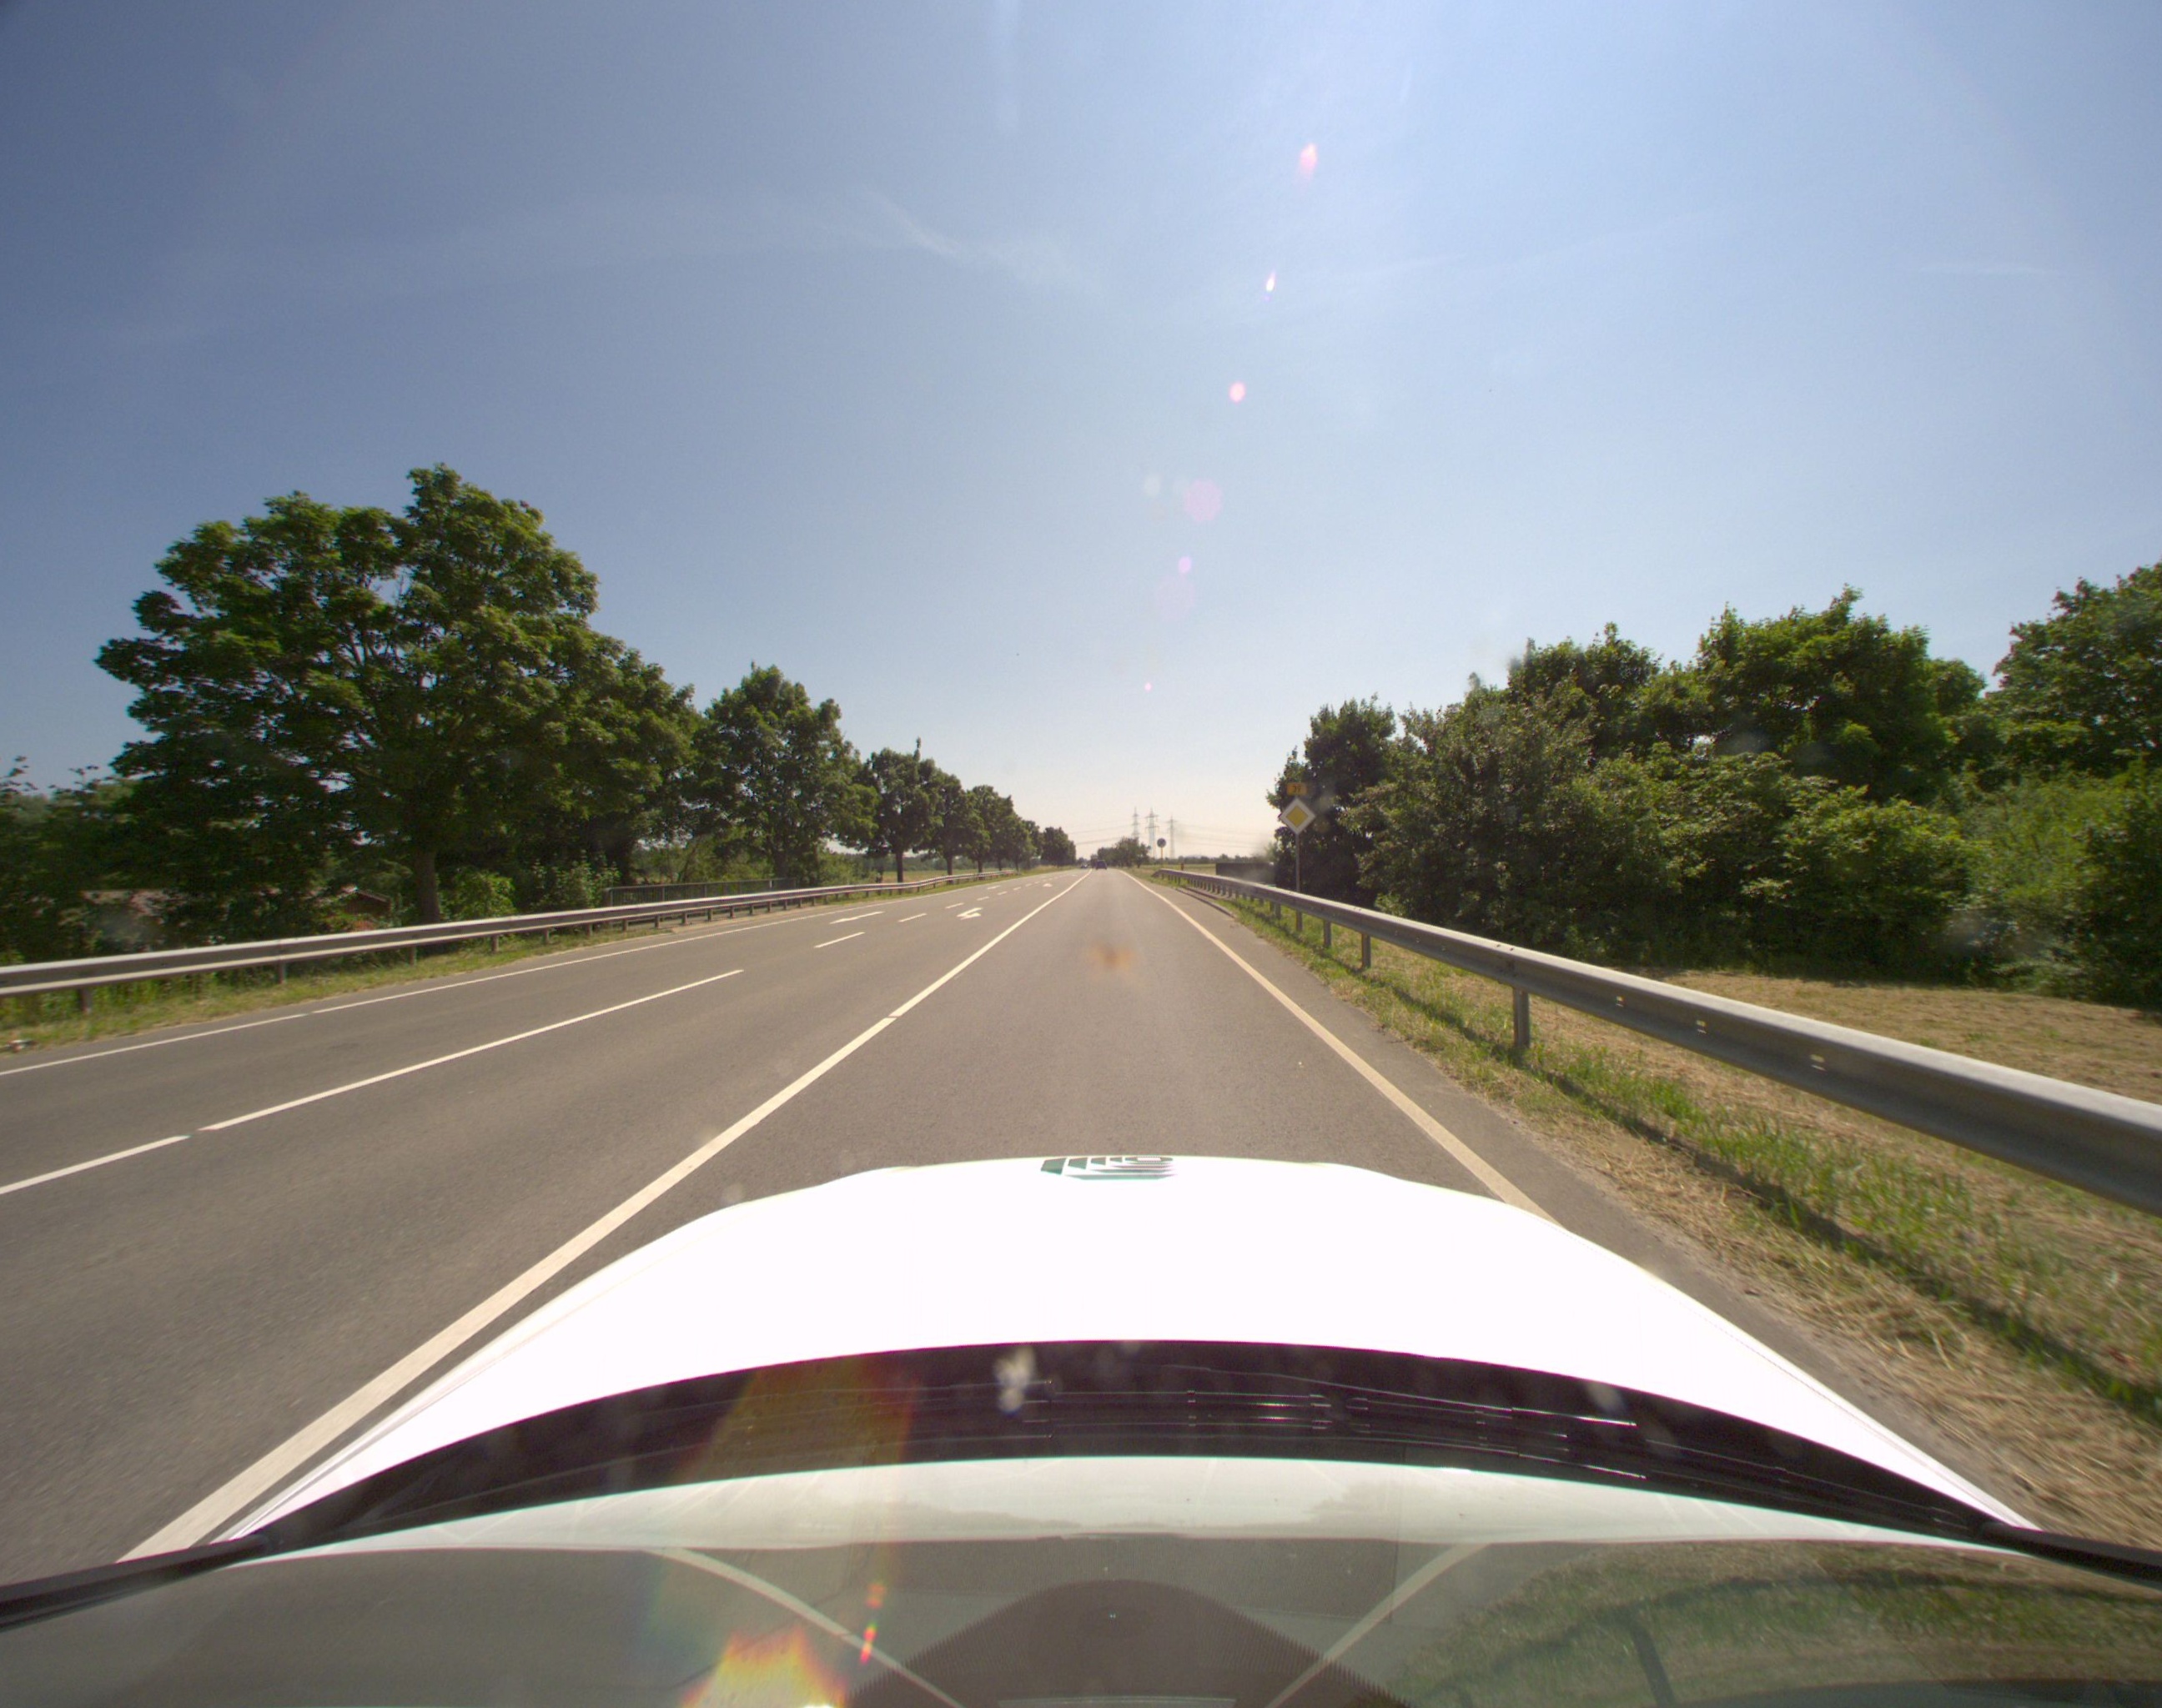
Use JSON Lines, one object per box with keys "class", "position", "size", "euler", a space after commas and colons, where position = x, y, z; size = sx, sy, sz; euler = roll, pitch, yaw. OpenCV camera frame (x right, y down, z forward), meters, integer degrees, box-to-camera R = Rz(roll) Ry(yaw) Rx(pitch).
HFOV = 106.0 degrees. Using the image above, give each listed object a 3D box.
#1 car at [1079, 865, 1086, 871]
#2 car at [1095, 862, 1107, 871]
{"class": "car", "position": [0.485, 3.844, 223.935], "size": [1.734, 1.473, 4.617], "euler": [-2, -1, 0]}
{"class": "car", "position": [3.452, 2.134, 140.997], "size": [1.879, 1.518, 4.038], "euler": [1, -1, 0]}
